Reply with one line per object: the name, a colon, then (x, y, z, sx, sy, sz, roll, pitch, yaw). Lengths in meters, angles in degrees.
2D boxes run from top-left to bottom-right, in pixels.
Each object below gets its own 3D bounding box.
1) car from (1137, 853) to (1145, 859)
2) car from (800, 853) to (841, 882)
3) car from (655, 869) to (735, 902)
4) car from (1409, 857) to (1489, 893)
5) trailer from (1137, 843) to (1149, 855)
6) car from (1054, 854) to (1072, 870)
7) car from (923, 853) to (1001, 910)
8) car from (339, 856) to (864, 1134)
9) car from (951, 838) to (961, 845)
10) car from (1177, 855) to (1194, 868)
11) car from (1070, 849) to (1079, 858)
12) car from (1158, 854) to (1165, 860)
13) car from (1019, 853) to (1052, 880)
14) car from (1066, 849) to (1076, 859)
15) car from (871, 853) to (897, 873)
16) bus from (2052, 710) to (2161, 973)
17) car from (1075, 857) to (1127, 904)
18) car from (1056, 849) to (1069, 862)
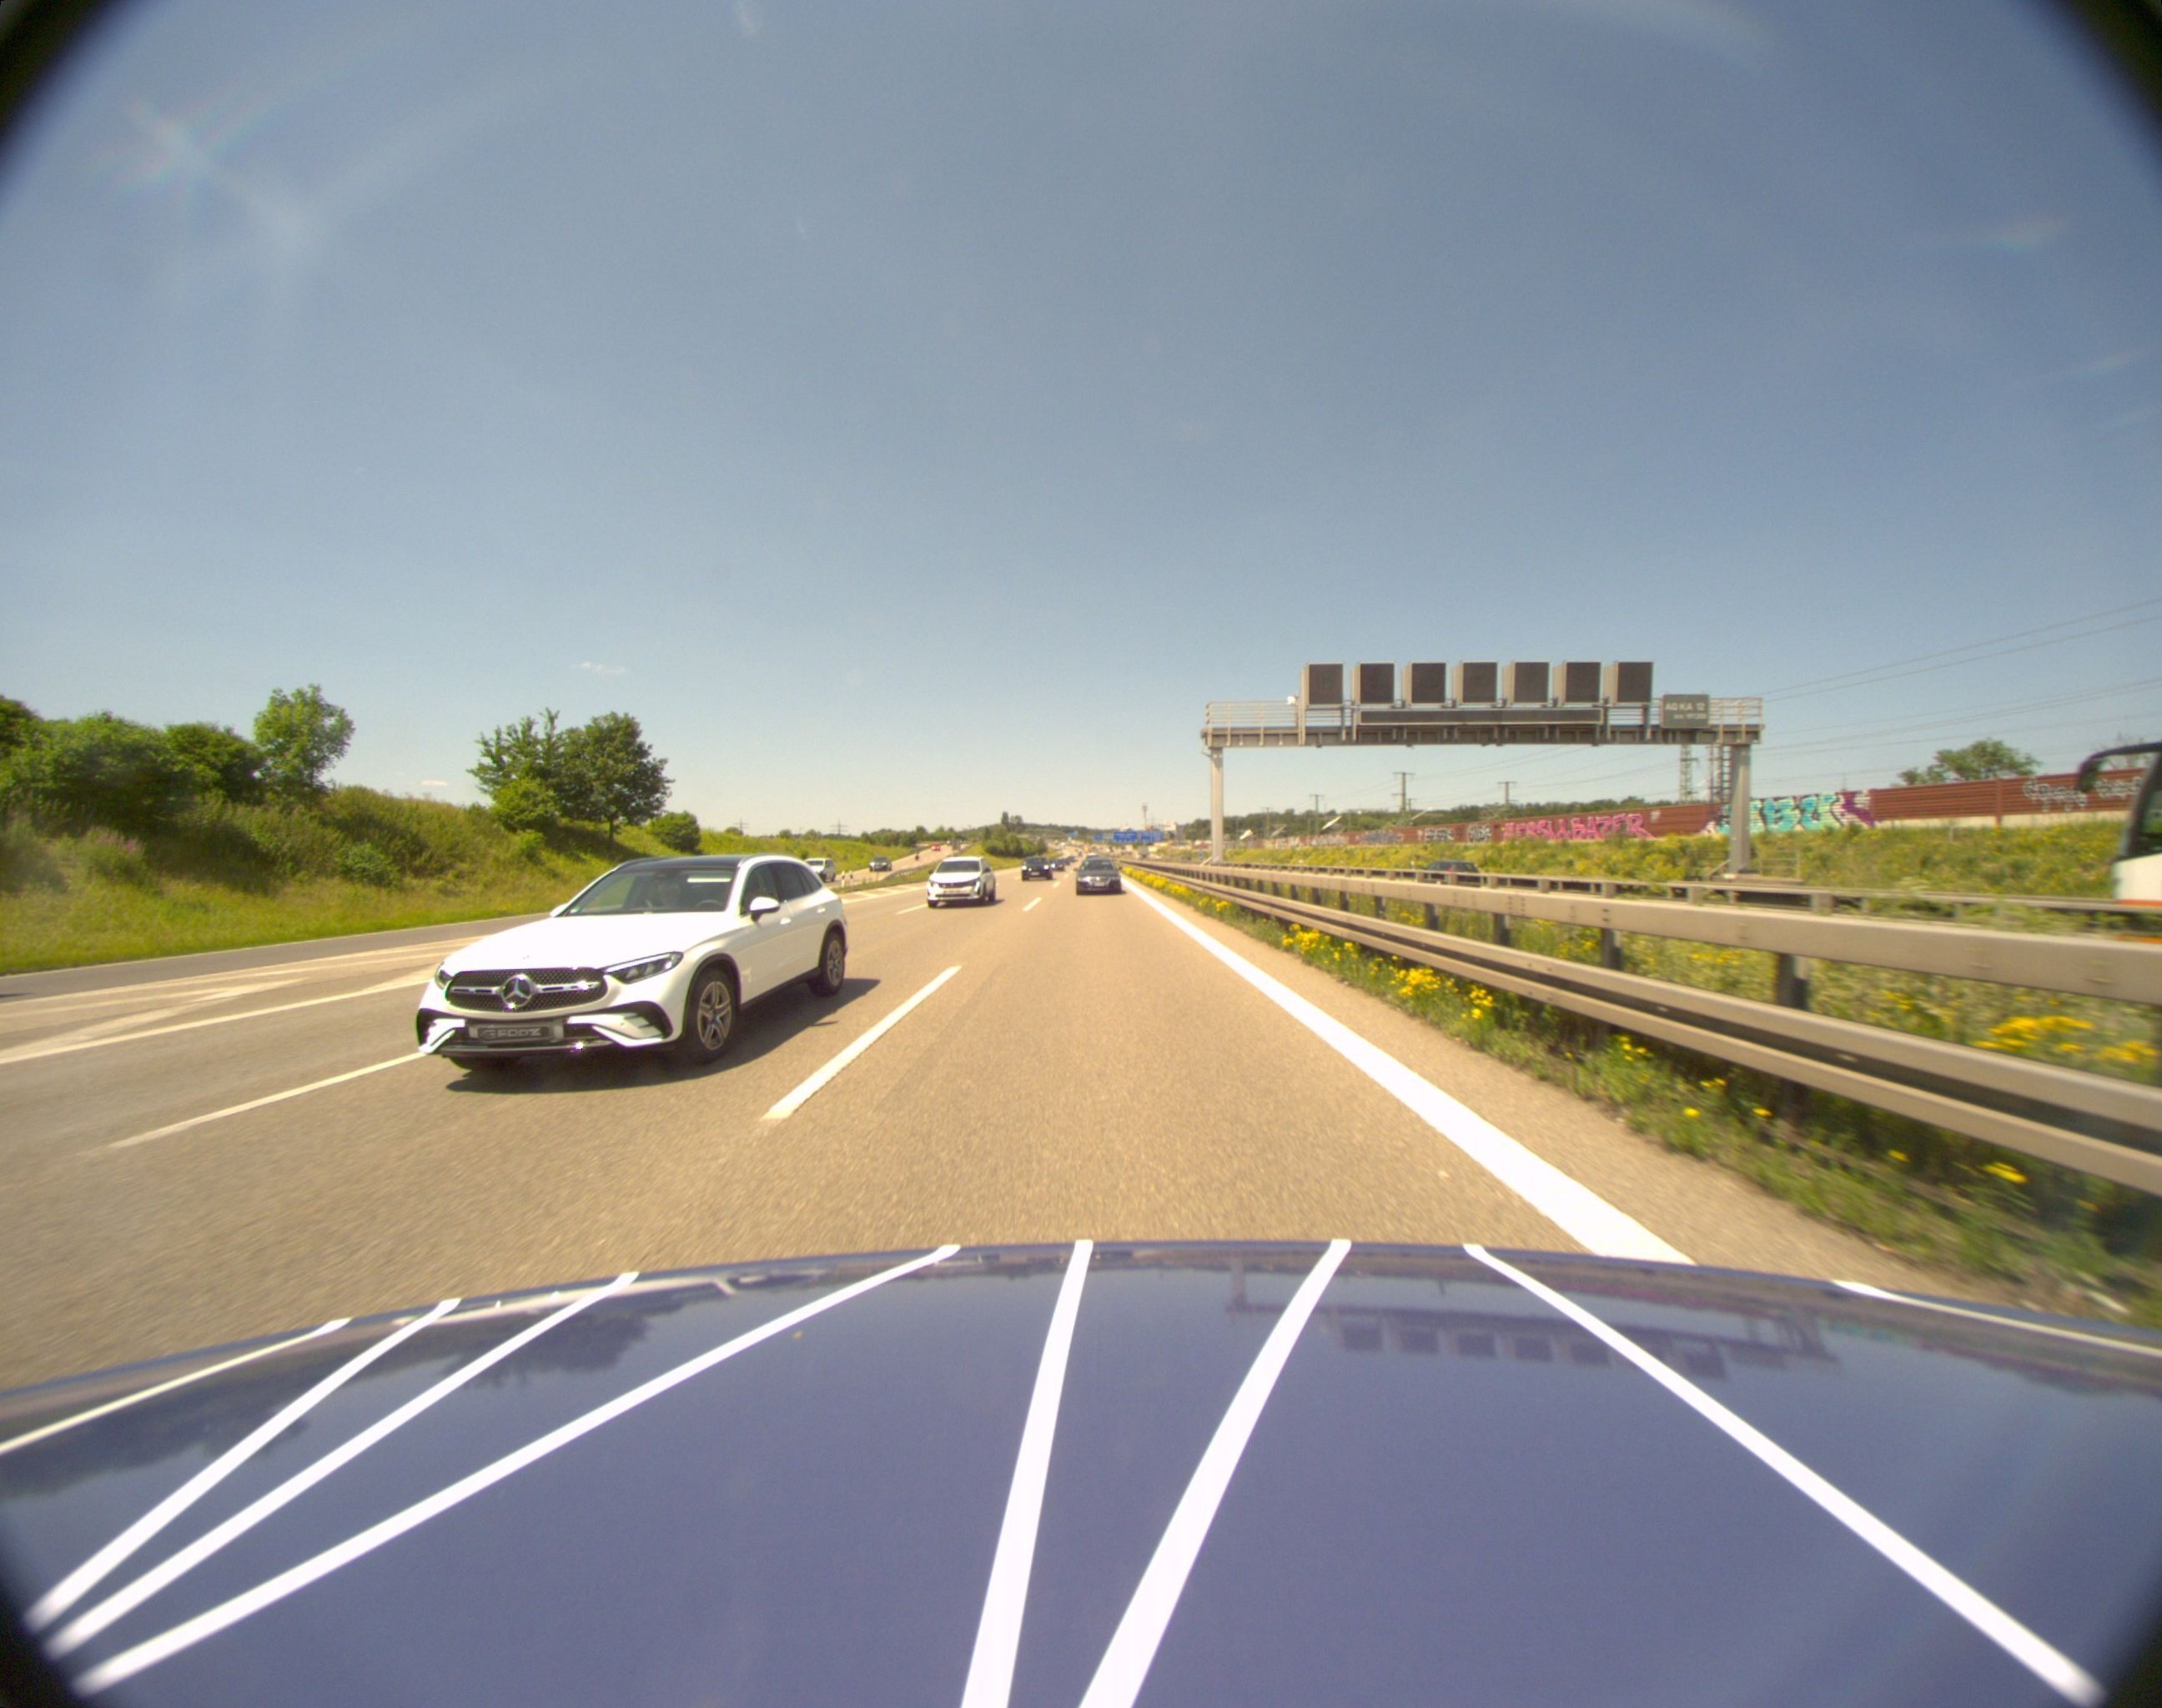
car: (15.678, 0.596, 198.181, 1.917, 1.535, 4.809, -1, 0, 1)
car: (-20.806, 1.069, 60.854, 2.000, 2.159, 4.890, -1, 0, -7)
car: (-18.409, 1.461, 36.476, 1.999, 1.375, 4.294, -1, 0, -6)
car: (16.530, 0.889, 34.333, 1.696, 1.465, 4.000, 1, 0, 1)
trailer: (21.321, -1.631, 261.905, 2.737, 4.050, 13.527, 0, 0, -1)
car: (-1.865, 0.772, 78.520, 1.752, 1.462, 3.998, -2, 2, -2)
car: (-3.947, 0.852, 26.007, 1.898, 1.620, 4.616, -2, 1, 0)
car: (-3.731, 0.918, 7.186, 1.909, 1.646, 4.636, -2, 1, 1)
car: (-34.157, -3.417, 207.875, 1.983, 1.620, 4.615, -2, 1, -1)
car: (13.980, 0.975, 101.766, 1.808, 1.565, 4.000, -1, 0, 1)
car: (-1.528, -0.125, 185.841, 1.998, 2.002, 3.999, -3, 2, 1)
car: (24.373, 0.931, 230.472, 1.724, 1.535, 3.809, -1, 0, 1)
car: (-3.110, 0.800, 52.635, 1.983, 1.620, 4.615, -2, 1, -1)
car: (-2.191, 0.070, 167.306, 1.999, 2.002, 3.999, -2, 1, 0)
car: (-22.432, 0.999, 86.562, 1.999, 2.002, 3.998, -3, 2, -3)
bus: (16.230, -0.229, 6.111, 2.864, 3.624, 10.941, -3, 0, 1)
car: (0.671, 0.919, 28.149, 1.752, 1.462, 3.999, -2, 2, 0)
car: (-3.175, 0.230, 129.788, 1.999, 2.002, 3.999, -2, 1, 0)
